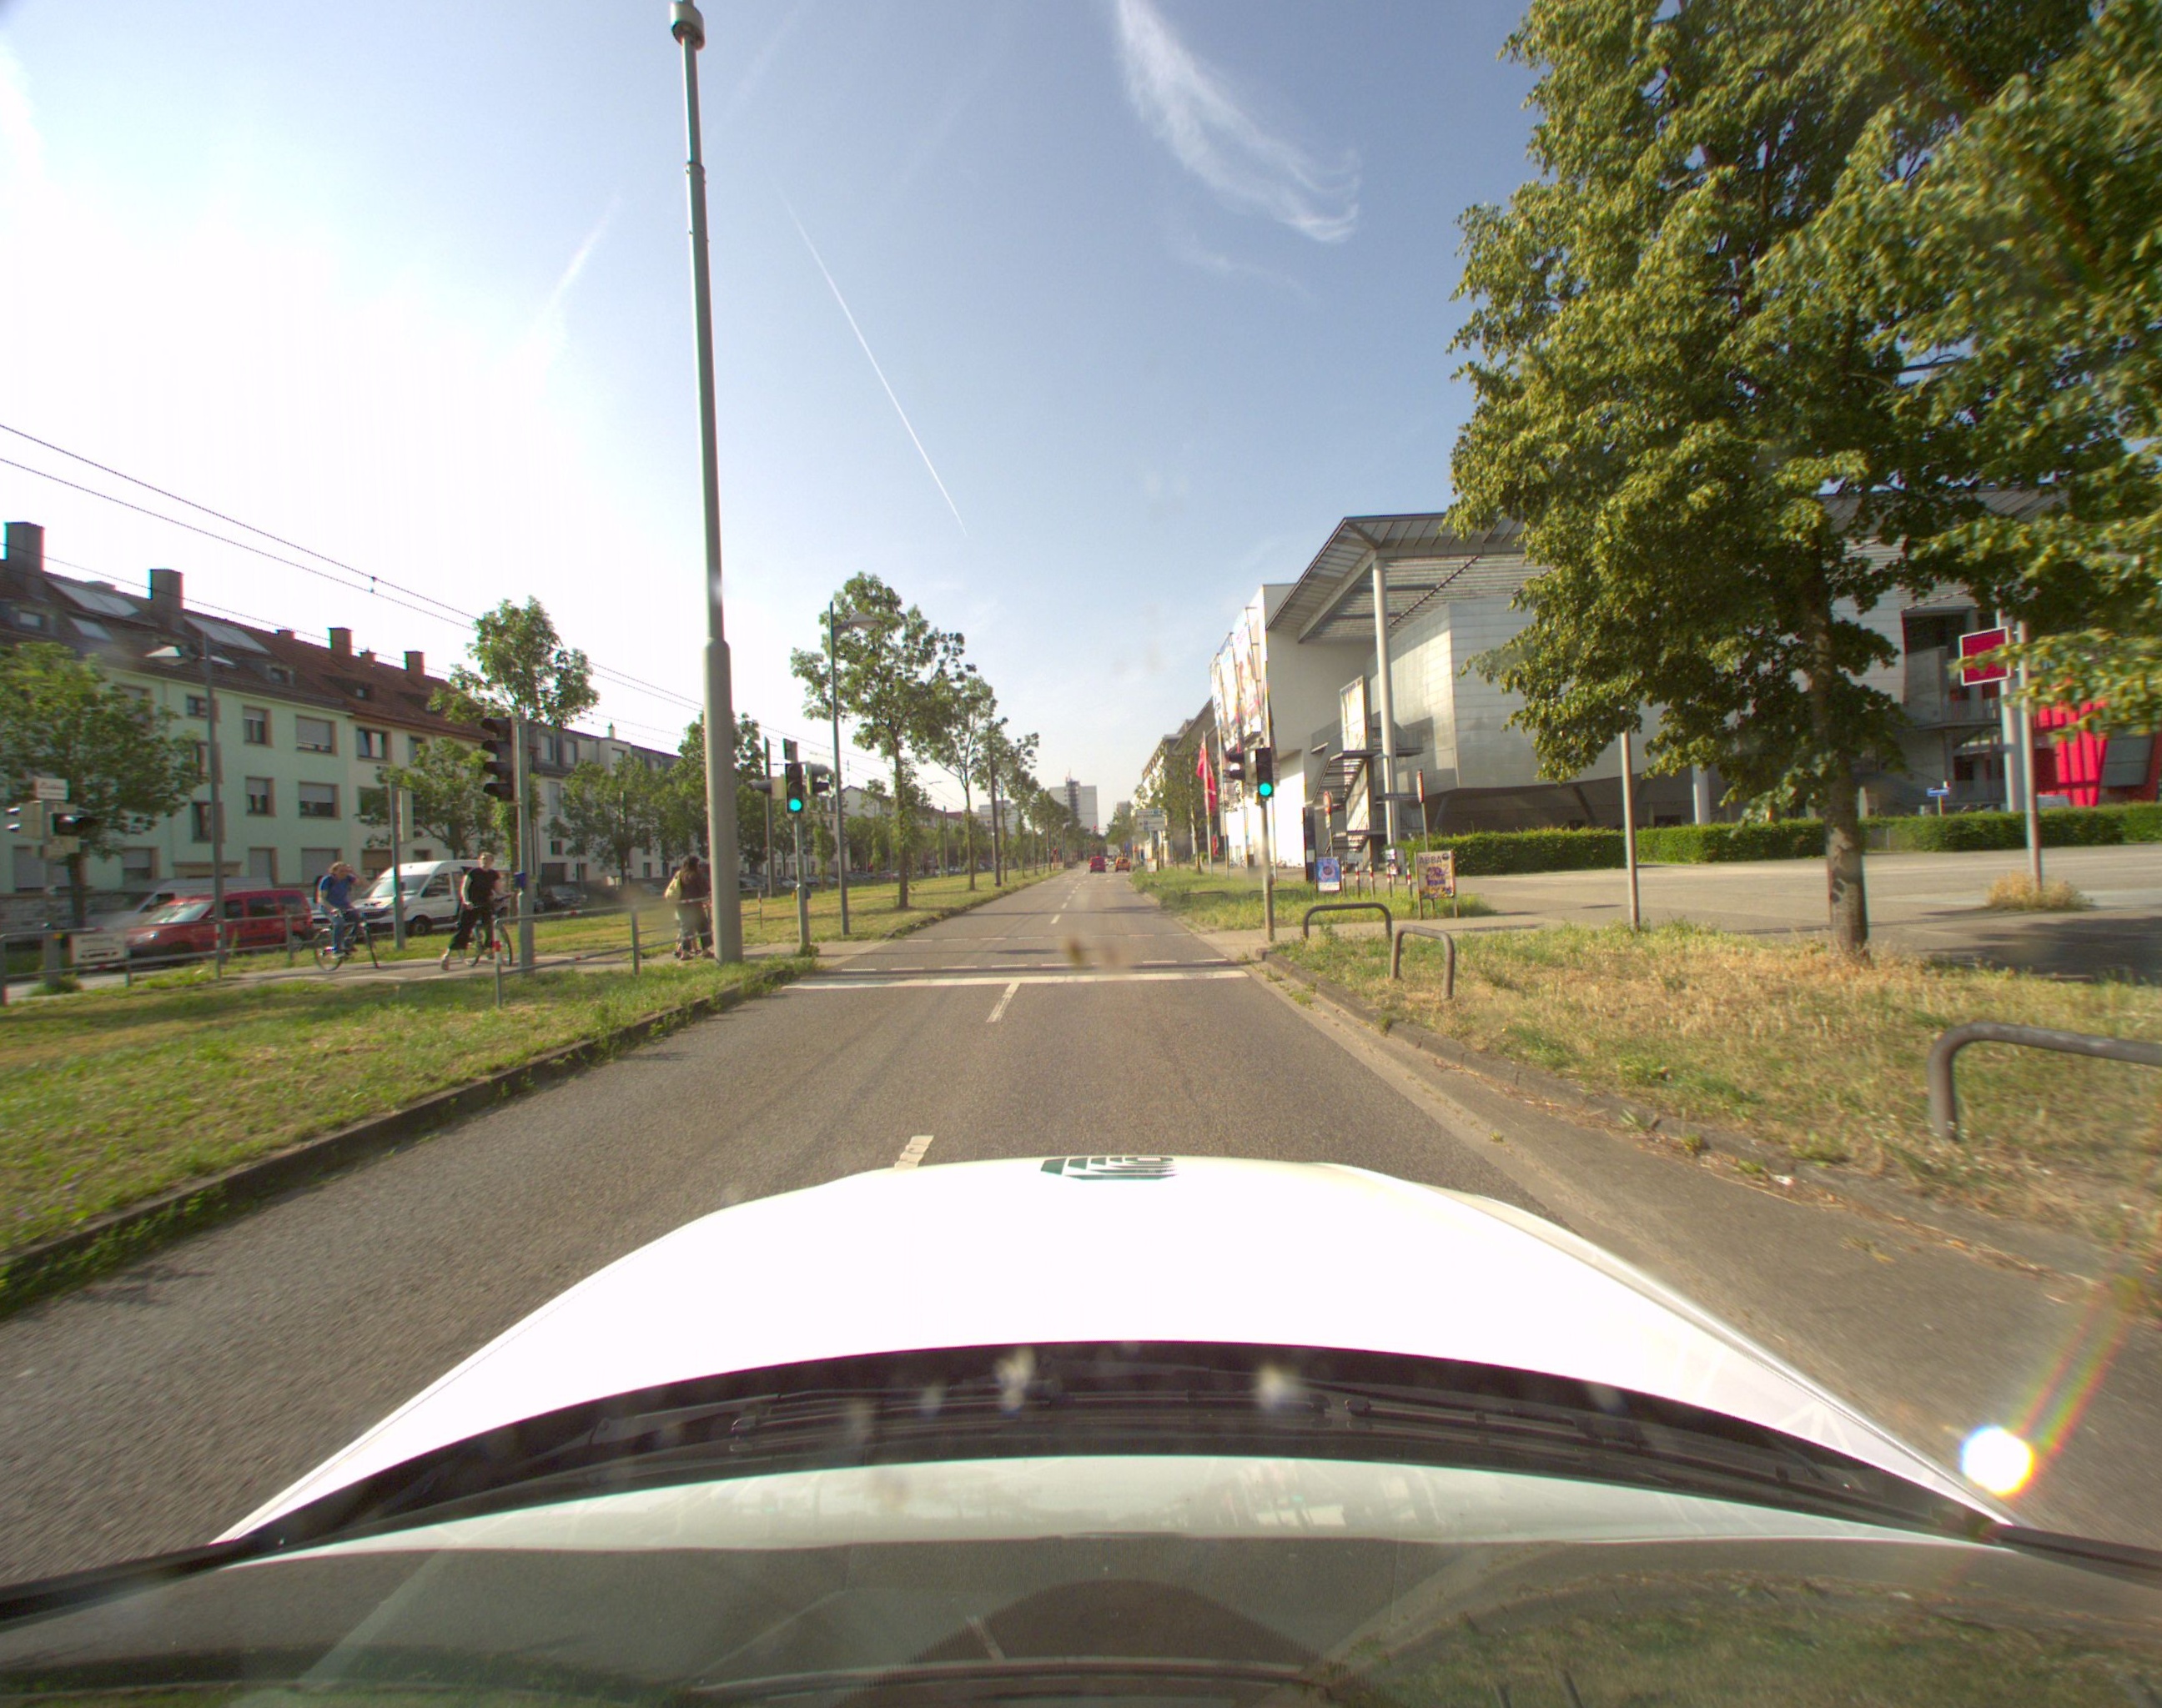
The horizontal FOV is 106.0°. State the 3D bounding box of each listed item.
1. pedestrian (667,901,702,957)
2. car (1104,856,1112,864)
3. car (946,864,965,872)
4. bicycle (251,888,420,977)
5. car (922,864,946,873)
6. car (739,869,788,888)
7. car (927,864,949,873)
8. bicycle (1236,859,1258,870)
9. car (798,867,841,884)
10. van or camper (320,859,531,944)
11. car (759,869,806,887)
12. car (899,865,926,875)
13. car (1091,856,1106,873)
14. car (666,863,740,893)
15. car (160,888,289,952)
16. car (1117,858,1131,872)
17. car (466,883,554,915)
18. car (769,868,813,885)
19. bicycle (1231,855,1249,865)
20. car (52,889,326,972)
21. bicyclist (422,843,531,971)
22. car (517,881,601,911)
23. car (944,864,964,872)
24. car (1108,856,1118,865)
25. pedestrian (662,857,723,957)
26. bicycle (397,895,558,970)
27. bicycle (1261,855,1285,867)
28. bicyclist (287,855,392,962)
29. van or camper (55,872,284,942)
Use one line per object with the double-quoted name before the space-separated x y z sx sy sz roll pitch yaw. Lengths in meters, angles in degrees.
"pedestrian" -6.523 1.232 13.399 0.340 0.875 0.461 -1 -1 1
"car" 5.900 1.383 180.681 1.742 1.650 3.217 -1 -1 2
"car" -27.861 3.130 180.957 3.950 1.596 1.665 -1 -1 26
"bicycle" -12.702 1.311 13.918 2.061 1.324 0.783 -3 0 -2
"car" -26.513 2.680 146.667 3.950 1.596 1.665 -1 -1 26
"car" -26.202 2.024 67.140 3.950 1.530 1.472 -1 -1 26
"car" -27.198 2.754 155.044 3.950 1.596 1.665 -1 -1 26
"bicycle" 12.993 0.825 63.929 1.616 0.888 0.551 -1 -1 -1
"car" -25.730 2.114 80.224 3.950 1.596 1.665 -1 -1 26
"van or camper" -21.662 1.441 27.397 2.196 2.531 6.029 -1 -1 0
"car" -25.727 2.042 70.121 3.950 1.530 1.472 -1 -1 26
"car" -26.321 2.466 127.329 3.950 1.596 1.665 -1 -1 26
"car" 2.059 1.227 96.135 1.742 2.014 3.217 -1 -1 2
"car" -26.670 1.694 57.384 5.169 2.014 1.888 -1 -1 26
"car" -27.306 2.008 25.909 5.258 1.738 2.013 -1 -1 34
"car" 5.265 1.308 100.159 1.742 1.650 3.217 -1 -1 2
"car" -27.109 2.092 38.645 3.950 1.412 1.729 -1 -1 26
"car" -26.813 2.094 75.220 3.950 1.530 1.472 -1 -1 26
"bicycle" 14.790 0.586 75.691 1.615 0.888 0.551 -1 -1 3
"car" -21.967 1.804 20.375 1.956 1.694 4.302 -1 -1 4
"bicyclist" -9.695 0.830 13.087 1.142 1.934 0.686 -3 -1 2
"car" -26.356 2.104 41.110 3.950 1.412 1.729 -1 -1 26
"car" -26.701 2.876 170.893 3.950 1.596 1.665 -1 -1 26
"car" 6.057 1.172 154.476 1.742 1.650 3.217 -1 -1 2
"pedestrian" -6.279 0.833 13.176 0.622 1.572 0.711 -1 -1 1
"bicycle" -9.663 1.243 13.081 2.058 1.042 0.668 -3 -1 2
"bicycle" 14.369 0.530 60.900 1.616 0.888 0.551 -1 -1 -1
"bicyclist" -12.661 0.911 13.929 1.143 1.762 0.686 -1 -1 -1
"van or camper" -34.254 1.887 30.970 1.985 2.328 5.832 -1 -1 3
